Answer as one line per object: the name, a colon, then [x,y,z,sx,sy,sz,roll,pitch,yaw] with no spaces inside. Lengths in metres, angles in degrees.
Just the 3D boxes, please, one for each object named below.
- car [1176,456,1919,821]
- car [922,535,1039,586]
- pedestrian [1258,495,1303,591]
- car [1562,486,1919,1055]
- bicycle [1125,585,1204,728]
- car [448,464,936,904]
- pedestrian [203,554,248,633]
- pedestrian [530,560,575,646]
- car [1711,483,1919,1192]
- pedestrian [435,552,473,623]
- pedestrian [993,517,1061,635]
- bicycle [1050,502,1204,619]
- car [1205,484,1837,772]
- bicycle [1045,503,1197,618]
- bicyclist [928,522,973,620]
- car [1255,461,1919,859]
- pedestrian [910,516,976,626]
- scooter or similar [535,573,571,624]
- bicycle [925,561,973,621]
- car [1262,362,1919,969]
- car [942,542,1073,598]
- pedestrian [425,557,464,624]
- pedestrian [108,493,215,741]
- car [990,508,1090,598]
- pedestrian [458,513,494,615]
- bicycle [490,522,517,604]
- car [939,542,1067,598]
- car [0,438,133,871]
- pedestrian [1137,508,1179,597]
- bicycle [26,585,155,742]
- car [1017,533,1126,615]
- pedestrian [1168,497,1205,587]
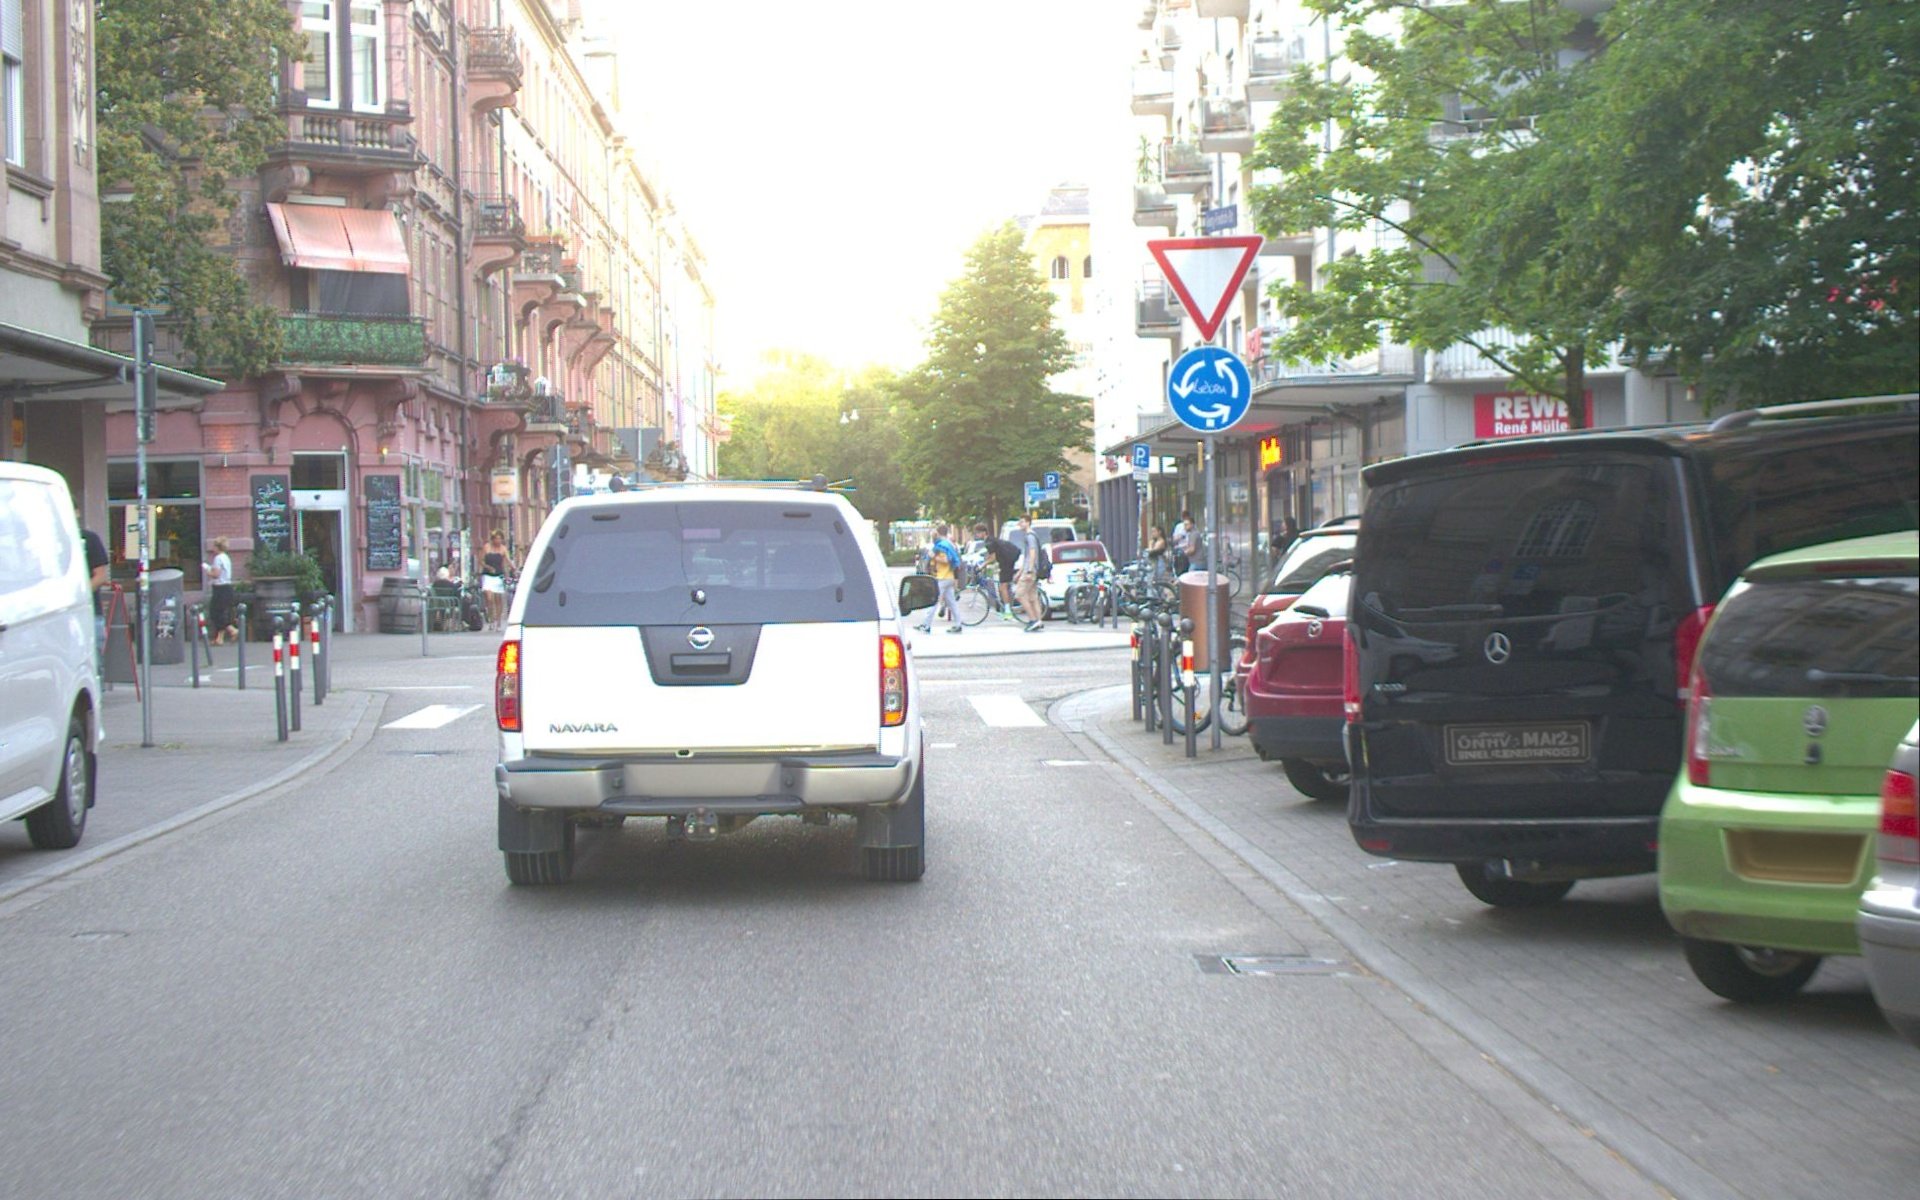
car: [3.475,0.154,19.619,4.213,1.682,1.933,-5,2,-40]
car: [0.701,-1.378,119.388,3.986,1.744,1.841,0,0,-2]
pedestrian: [5.608,-0.992,60.117,0.720,1.657,0.702,0,0,1]
car: [4.121,0.354,11.026,4.096,1.546,1.818,-5,2,-33]
bicycle: [1.557,0.415,26.310,0.364,1.060,1.552,0,0,-5]
car: [-1.119,0.327,16.644,1.938,1.804,5.001,0,0,0]
pedestrian: [-11.685,-0.104,54.717,0.455,1.258,0.574,0,0,23]
pedestrian: [-7.648,0.053,64.564,0.797,1.615,0.945,0,0,-4]
car: [3.995,0.388,8.342,4.096,1.546,1.818,-5,2,-33]
pedestrian: [-9.185,-0.219,62.396,0.648,1.281,0.540,0,0,-5]
pedestrian: [1.071,-0.381,55.110,0.903,1.878,0.616,0,0,-32]
bicycle: [2.901,-0.687,59.835,2.647,2.007,0.638,0,0,0]
car: [3.789,0.127,22.964,4.036,1.622,1.693,-4,3,-33]
bicycle: [2.837,-0.693,60.649,2.647,2.007,0.638,0,0,0]
bicyclist: [-0.190,-0.573,68.501,0.838,1.937,0.785,0,0,3]
car: [3.761,0.199,17.191,4.212,1.617,1.933,-5,2,-35]
pedestrian: [-0.266,-0.455,54.184,0.903,1.730,0.616,0,0,-15]
scooter or similar: [-7.406,-0.032,62.554,0.233,0.926,1.266,0,0,-27]
bicycle: [-0.216,-0.187,68.378,0.838,1.167,1.935,0,0,3]
car: [3.930,0.073,14.356,5.422,2.065,1.933,-5,2,-40]
car: [1.471,-0.935,107.413,3.986,1.744,1.841,0,0,-2]
pedestrian: [-9.178,-0.163,61.210,0.648,1.187,0.540,0,0,-5]
pedestrian: [-5.960,0.120,25.695,0.536,1.817,0.997,0,0,2]
car: [1.744,-1.026,76.071,1.942,1.927,4.000,0,0,-2]
pedestrian: [-8.757,-0.651,62.177,0.503,1.834,0.573,0,0,-24]
bicycle: [-8.212,-0.663,61.825,0.424,1.437,1.905,0,0,-6]
car: [1.344,-0.952,109.649,3.986,1.744,1.841,0,0,-2]
car: [-5.340,0.244,15.769,2.109,1.915,5.026,-1,1,-3]
pedestrian: [3.713,-0.894,64.519,0.720,1.657,0.702,0,0,-1]
bicycle: [-6.551,0.459,25.959,0.471,1.138,1.785,0,0,2]
car: [2.144,-0.506,67.301,1.834,1.536,4.000,0,0,-2]
pedestrian: [4.829,-1.227,73.311,0.720,1.900,0.702,0,0,-1]
